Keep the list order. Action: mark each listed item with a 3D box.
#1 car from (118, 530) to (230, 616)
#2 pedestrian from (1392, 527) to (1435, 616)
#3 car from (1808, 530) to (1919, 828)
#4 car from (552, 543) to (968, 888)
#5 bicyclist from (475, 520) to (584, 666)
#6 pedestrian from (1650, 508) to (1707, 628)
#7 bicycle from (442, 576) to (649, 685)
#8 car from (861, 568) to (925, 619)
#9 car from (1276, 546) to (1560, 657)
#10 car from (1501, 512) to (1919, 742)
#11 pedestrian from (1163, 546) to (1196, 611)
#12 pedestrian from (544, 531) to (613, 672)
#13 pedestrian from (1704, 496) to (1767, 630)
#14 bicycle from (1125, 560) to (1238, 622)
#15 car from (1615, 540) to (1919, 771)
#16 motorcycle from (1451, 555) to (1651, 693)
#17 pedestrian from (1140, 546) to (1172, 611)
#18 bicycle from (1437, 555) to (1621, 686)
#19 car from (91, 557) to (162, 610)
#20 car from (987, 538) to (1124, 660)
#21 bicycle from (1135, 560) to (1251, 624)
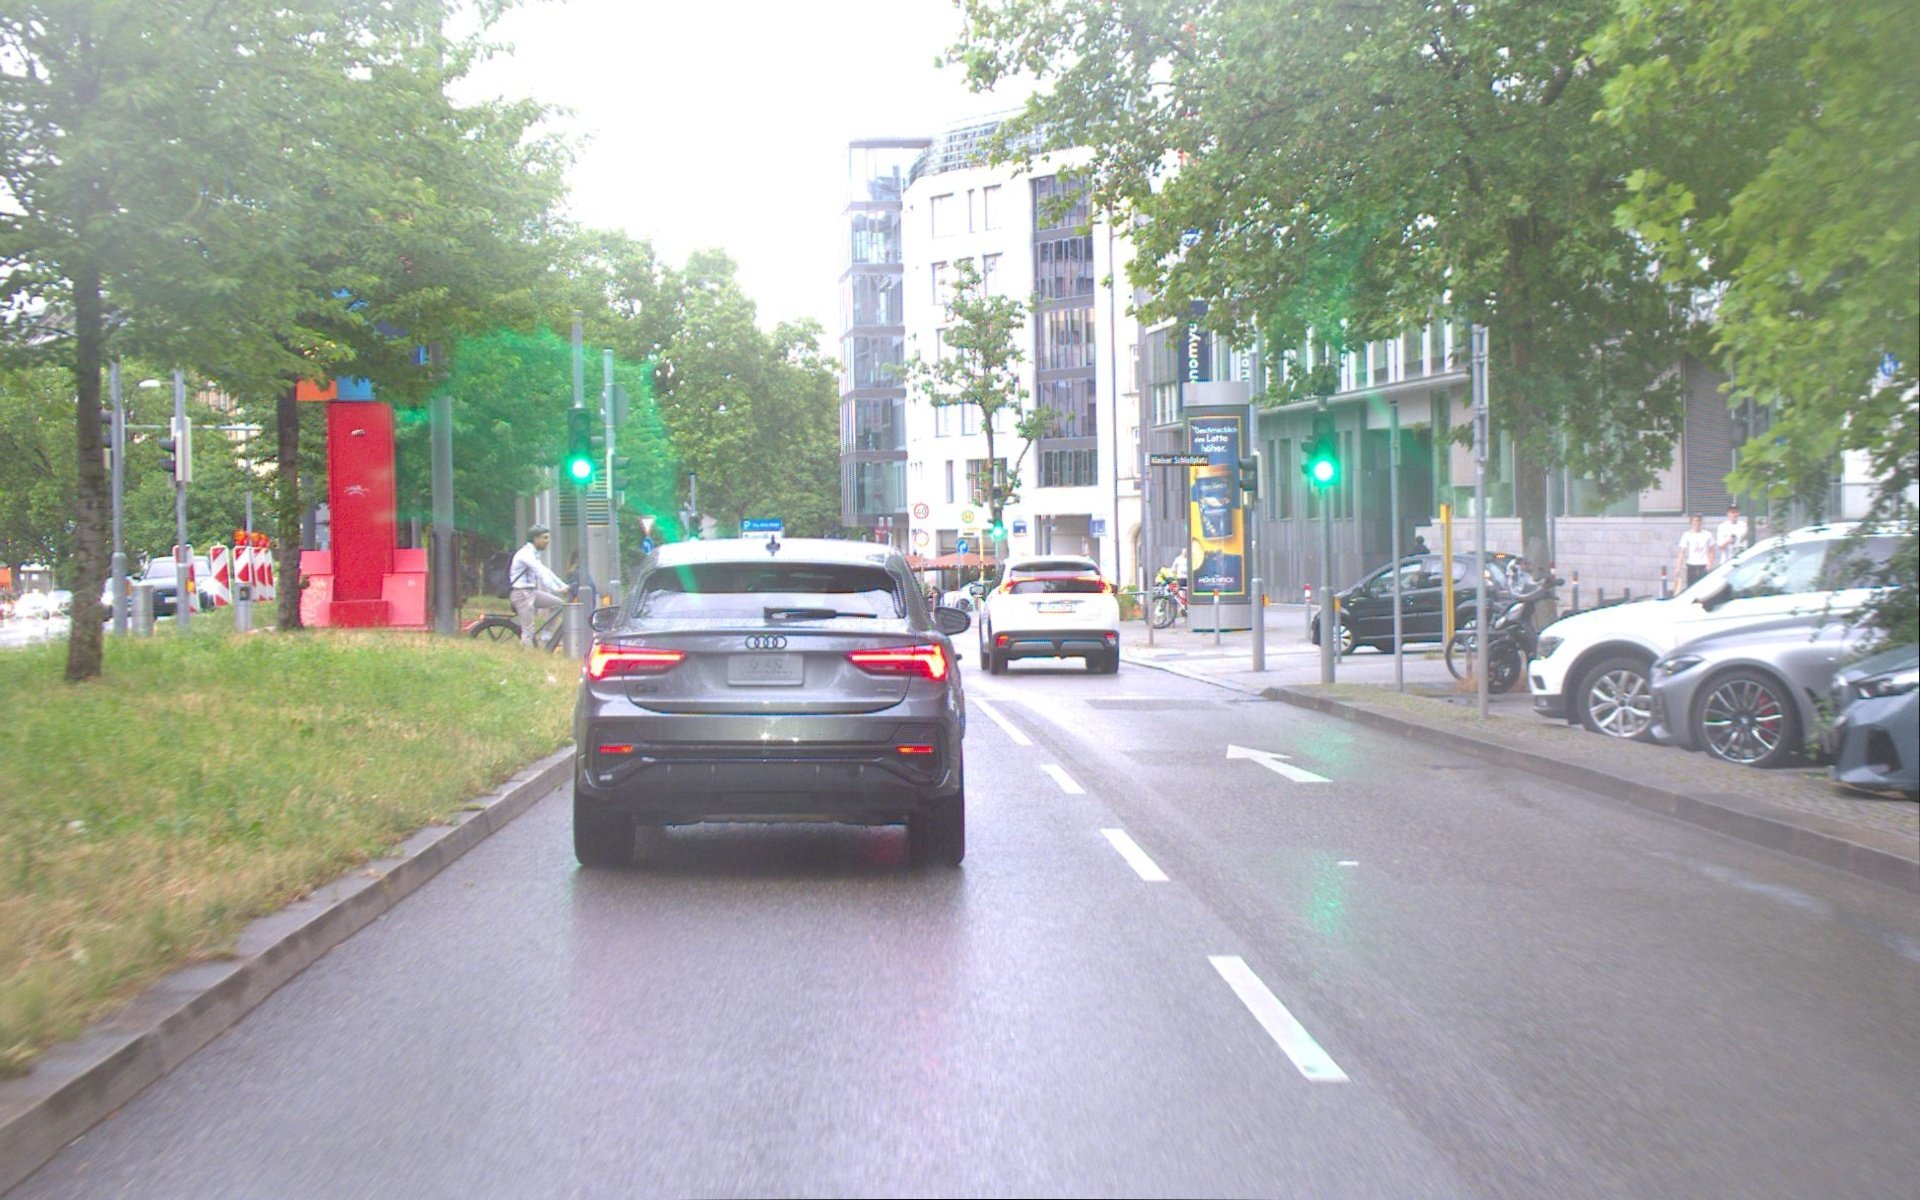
[{"bbox_3d":[-17.773,-0.639,77.871,1.993,1.820,4.001,-2,1,-7],"label":"car"},{"bbox_3d":[10.827,-0.676,82.039,0.936,2.108,1.075,0,0,12],"label":"pedestrian"},{"bbox_3d":[6.973,0.345,18.175,4.778,1.528,1.868,-1,1,15],"label":"car"},{"bbox_3d":[-0.908,0.480,17.313,1.849,1.518,4.039,0,1,-1],"label":"car"},{"bbox_3d":[-4.952,-0.084,39.595,1.104,1.616,0.751,2,0,-1],"label":"bicyclist"},{"bbox_3d":[11.415,-0.505,54.630,0.867,1.897,0.885,0,0,12],"label":"pedestrian"},{"bbox_3d":[-4.762,0.345,39.593,2.254,1.158,0.751,2,0,-1],"label":"bicycle"},{"bbox_3d":[-2.033,-0.221,104.722,1.849,1.518,4.039,0,1,0],"label":"car"},{"bbox_3d":[6.683,0.007,50.380,3.861,1.562,1.664,0,0,42],"label":"car"},{"bbox_3d":[6.456,0.186,26.188,4.223,1.663,1.836,-1,1,27],"label":"car"},{"bbox_3d":[6.808,-0.661,106.632,0.855,2.007,0.976,0,0,-5],"label":"pedestrian"},{"bbox_3d":[-4.907,0.016,44.202,0.662,1.787,0.750,0,0,12],"label":"pedestrian"},{"bbox_3d":[12.295,-0.582,54.553,0.936,2.108,1.075,0,0,12],"label":"pedestrian"},{"bbox_3d":[4.754,-0.207,73.874,2.337,1.308,0.710,0,1,-7],"label":"bicycle"},{"bbox_3d":[6.767,0.337,22.973,4.300,1.483,1.840,-1,1,29],"label":"car"},{"bbox_3d":[6.141,0.245,35.793,2.029,1.410,0.725,0,0,9],"label":"motorcycle"},{"bbox_3d":[6.132,-0.667,107.789,0.855,2.007,0.976,0,0,-5],"label":"pedestrian"},{"bbox_3d":[6.267,0.221,37.920,1.983,1.410,0.725,0,0,9],"label":"bicycle"},{"bbox_3d":[-27.002,-0.549,111.454,1.732,1.553,4.001,-2,1,-7],"label":"car"},{"bbox_3d":[1.311,-0.038,48.863,1.849,1.663,4.039,0,1,0],"label":"car"},{"bbox_3d":[4.871,-0.171,71.970,2.337,1.308,0.710,0,1,-7],"label":"bicycle"}]
